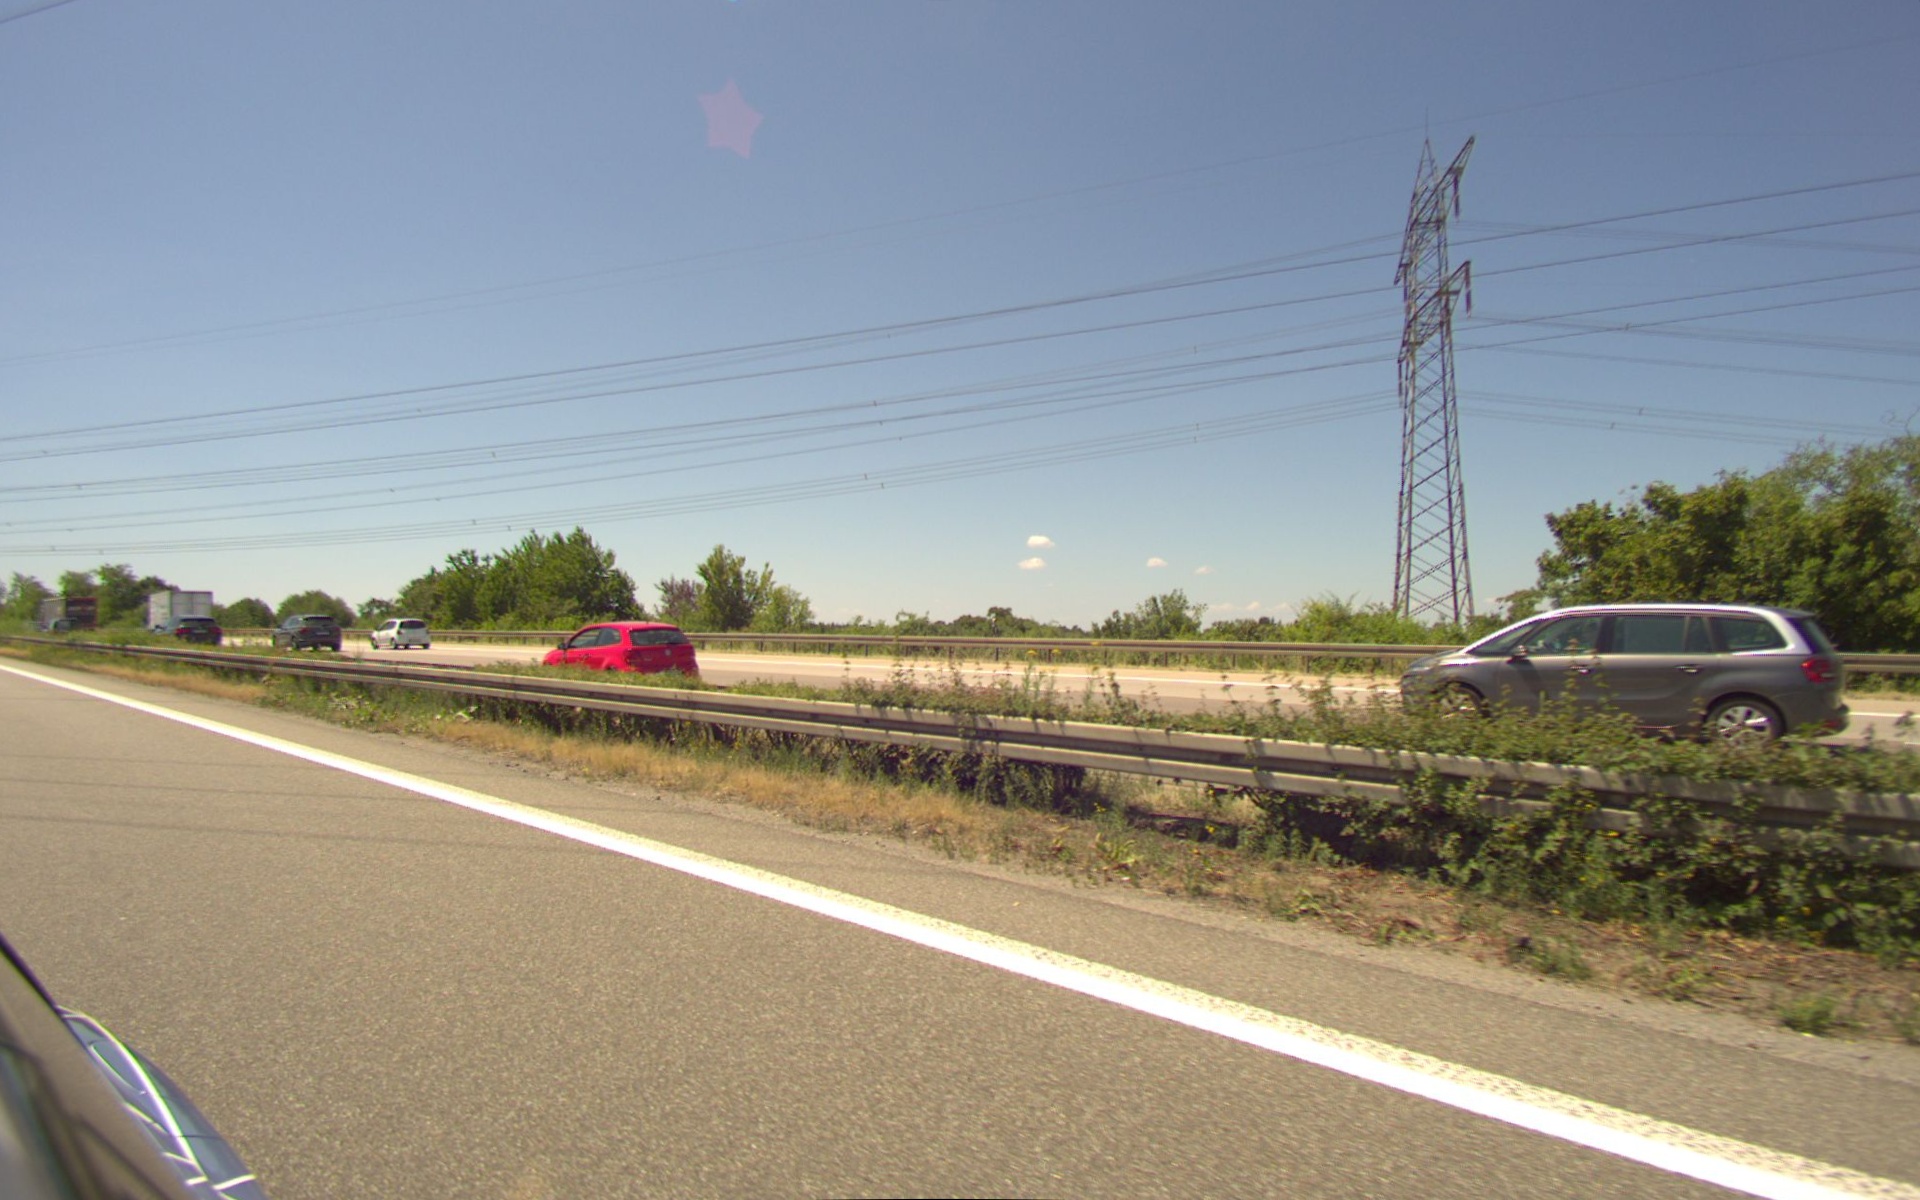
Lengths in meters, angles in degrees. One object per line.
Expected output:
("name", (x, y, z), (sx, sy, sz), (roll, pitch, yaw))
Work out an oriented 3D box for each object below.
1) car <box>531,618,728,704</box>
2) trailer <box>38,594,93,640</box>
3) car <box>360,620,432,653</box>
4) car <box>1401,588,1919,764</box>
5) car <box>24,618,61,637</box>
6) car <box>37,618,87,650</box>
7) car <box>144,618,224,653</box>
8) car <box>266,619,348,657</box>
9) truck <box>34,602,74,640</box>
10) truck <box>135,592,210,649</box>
("car", (-6.448, 1.101, 19.574), (3.958, 1.491, 1.884), (-1, -1, 41))
("trailer", (-95.667, 1.867, 108.135), (13.855, 4.586, 2.621), (-2, -2, 41))
("car", (-27.074, 1.724, 48.536), (4.277, 1.544, 1.648), (-1, -1, 41))
("car", (8.091, 0.769, 11.962), (4.927, 1.686, 1.973), (-1, -1, 41))
("car", (-86.483, 2.606, 95.381), (5.014, 1.630, 1.973), (-2, -2, 41))
("car", (-59.957, 2.281, 67.533), (4.283, 1.989, 1.973), (-2, -2, 41))
("car", (-34.264, 1.559, 44.658), (4.409, 1.446, 1.973), (-2, -1, 41))
("car", (-29.563, 1.723, 45.791), (4.409, 1.630, 1.973), (-2, -2, 41))
("truck", (-100.866, 2.362, 112.639), (5.987, 4.013, 2.621), (-2, -2, 41))
("truck", (-58.902, 1.643, 75.602), (9.665, 4.007, 2.428), (-2, -4, 41))
